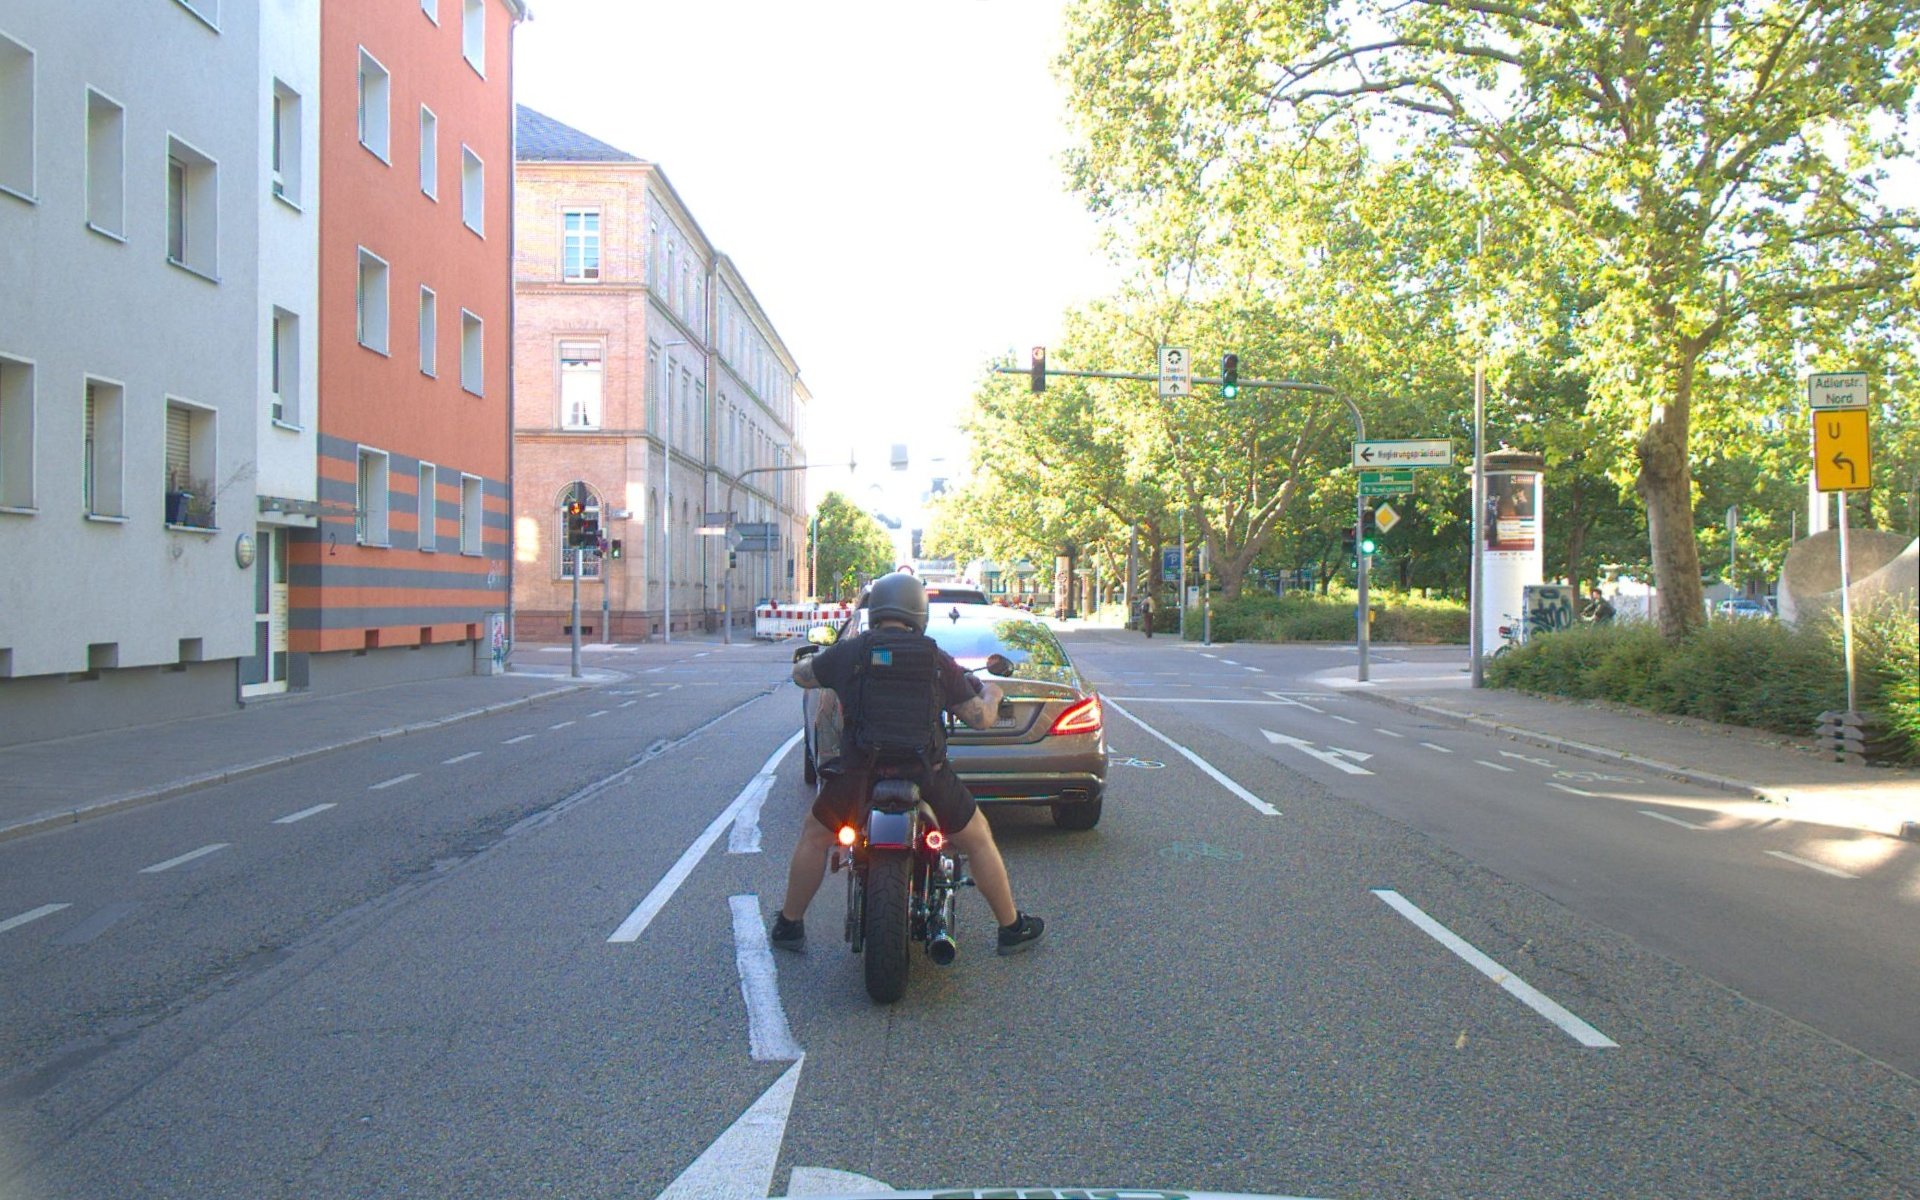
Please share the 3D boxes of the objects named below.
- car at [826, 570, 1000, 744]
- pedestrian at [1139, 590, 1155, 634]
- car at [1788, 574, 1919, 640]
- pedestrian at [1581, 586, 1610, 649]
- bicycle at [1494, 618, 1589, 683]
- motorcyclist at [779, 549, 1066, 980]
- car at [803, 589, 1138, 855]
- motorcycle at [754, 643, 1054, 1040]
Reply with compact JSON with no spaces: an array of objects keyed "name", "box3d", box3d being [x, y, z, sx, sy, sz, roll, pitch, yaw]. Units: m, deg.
[{"name":"car","box3d":[-0.514,0.541,17.661,1.647,1.653,3.839,0,0,-2]},{"name":"pedestrian","box3d":[7.260,0.462,64.264,0.548,1.707,0.564,0,0,-1]},{"name":"car","box3d":[25.742,0.185,46.513,3.912,1.815,2.001,0,0,4]},{"name":"pedestrian","box3d":[18.662,0.506,48.548,0.607,1.815,0.630,0,0,1]},{"name":"bicycle","box3d":[9.695,0.833,27.595,1.387,1.055,0.538,0,0,-5]},{"name":"motorcyclist","box3d":[-0.151,0.626,6.911,1.090,1.641,1.202,0,0,-1]},{"name":"car","box3d":[-0.131,0.685,11.620,1.787,1.502,4.346,0,0,-7]},{"name":"motorcycle","box3d":[-0.203,0.831,6.794,0.987,1.225,2.664,0,0,-1]}]
